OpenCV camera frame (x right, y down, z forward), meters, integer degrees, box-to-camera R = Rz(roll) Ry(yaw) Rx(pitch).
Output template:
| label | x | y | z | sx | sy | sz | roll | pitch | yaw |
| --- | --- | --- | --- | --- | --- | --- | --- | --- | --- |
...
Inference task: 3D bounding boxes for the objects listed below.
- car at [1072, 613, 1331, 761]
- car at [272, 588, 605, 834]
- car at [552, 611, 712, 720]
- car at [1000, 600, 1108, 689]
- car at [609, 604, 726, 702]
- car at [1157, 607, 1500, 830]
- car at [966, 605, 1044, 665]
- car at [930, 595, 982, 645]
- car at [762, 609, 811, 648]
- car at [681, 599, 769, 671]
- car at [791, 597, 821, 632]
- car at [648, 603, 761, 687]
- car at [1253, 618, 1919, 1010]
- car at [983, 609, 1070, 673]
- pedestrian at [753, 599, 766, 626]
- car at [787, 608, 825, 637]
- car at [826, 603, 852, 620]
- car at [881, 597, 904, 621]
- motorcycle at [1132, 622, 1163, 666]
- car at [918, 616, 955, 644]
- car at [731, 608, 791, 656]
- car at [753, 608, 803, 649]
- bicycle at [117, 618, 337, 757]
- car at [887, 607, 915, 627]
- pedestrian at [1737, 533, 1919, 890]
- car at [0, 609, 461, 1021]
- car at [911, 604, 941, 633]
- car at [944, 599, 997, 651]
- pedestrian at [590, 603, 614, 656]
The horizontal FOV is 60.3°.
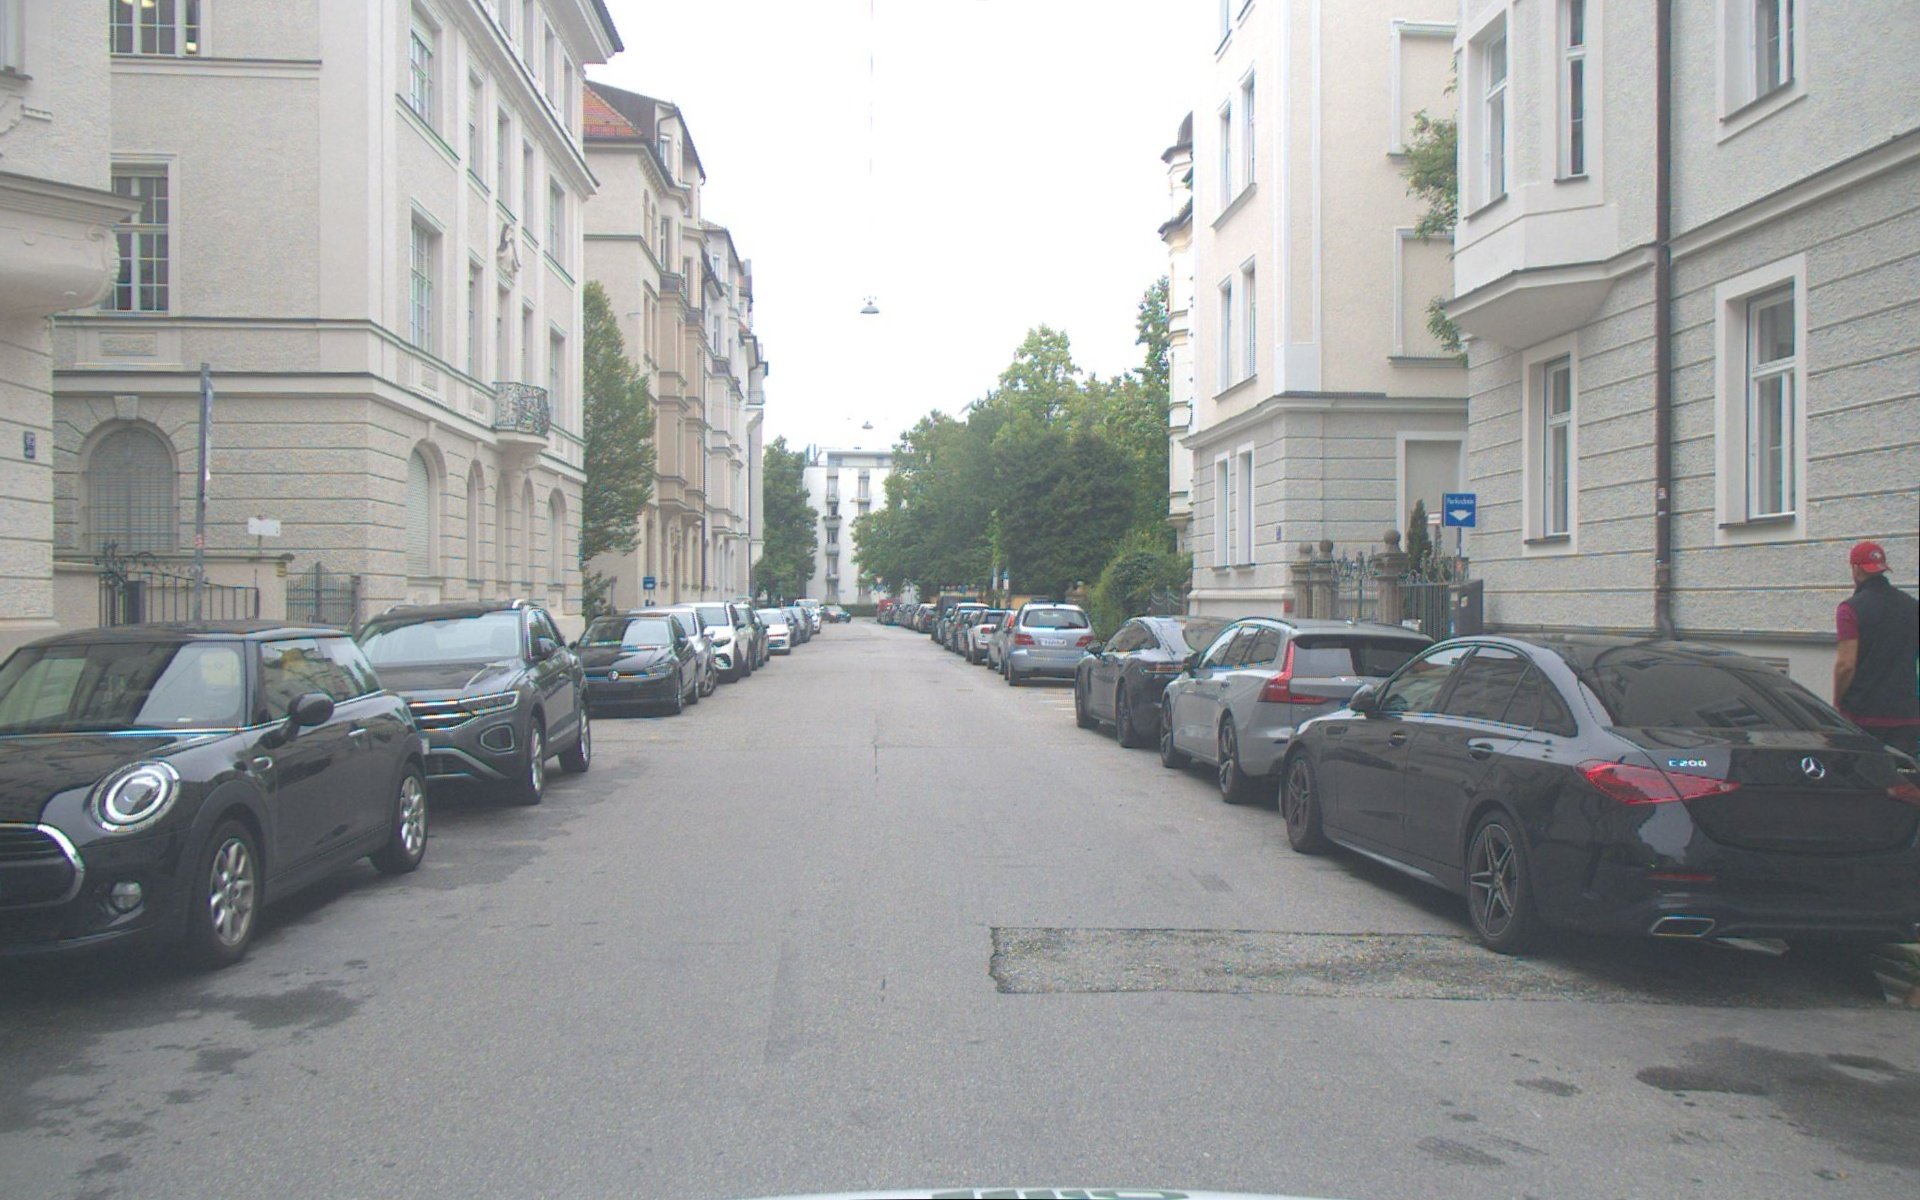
| label | x | y | z | sx | sy | sz | roll | pitch | yaw |
| --- | --- | --- | --- | --- | --- | --- | --- | --- | --- |
| car | 2.656 | 0.909 | 19.372 | 1.955 | 1.483 | 4.707 | 0 | 0 | -5 |
| car | -4.086 | 0.780 | 13.631 | 1.693 | 1.647 | 4.117 | -2 | 0 | -5 |
| car | -4.894 | 0.924 | 25.214 | 1.757 | 1.440 | 4.275 | -2 | 0 | -3 |
| car | 1.838 | 0.852 | 33.585 | 1.785 | 1.596 | 4.399 | 3 | 0 | -1 |
| car | -5.208 | 0.895 | 29.896 | 1.748 | 1.568 | 4.251 | -2 | 0 | -7 |
| car | 2.942 | 0.871 | 14.207 | 1.725 | 1.511 | 4.418 | 3 | 0 | -3 |
| car | 1.150 | 0.909 | 44.408 | 1.749 | 1.531 | 4.062 | 1 | 0 | -3 |
| car | -0.187 | 0.834 | 71.176 | 1.912 | 1.988 | 4.662 | 1 | 1 | -4 |
| car | -7.376 | 1.189 | 70.574 | 1.800 | 1.461 | 4.242 | -3 | 0 | -3 |
| car | -5.689 | 0.801 | 40.467 | 1.800 | 1.647 | 4.241 | 0 | 0 | -4 |
| car | -10.194 | 0.954 | 109.730 | 1.850 | 2.165 | 4.701 | -3 | 0 | -5 |
| car | -5.321 | 0.893 | 34.943 | 1.877 | 1.647 | 4.569 | 0 | 0 | -3 |
| car | 3.204 | 0.881 | 8.984 | 1.801 | 1.424 | 4.967 | 2 | 0 | -7 |
| car | 1.543 | 0.936 | 39.317 | 1.719 | 1.431 | 3.449 | 1 | 0 | -3 |
| pedestrian | -12.858 | 0.805 | 106.237 | 0.778 | 1.708 | 0.698 | 0 | 0 | -12 |
| car | -8.480 | 1.217 | 91.310 | 1.800 | 1.463 | 4.272 | -3 | 0 | -3 |
| car | -10.287 | 0.965 | 140.351 | 1.840 | 1.453 | 4.400 | 0 | 0 | -9 |
| car | -5.664 | 0.741 | 139.855 | 1.799 | 1.960 | 4.003 | 2 | 0 | -1 |
| motorcycle | 4.984 | 1.160 | 44.065 | 0.595 | 1.132 | 1.964 | 0 | 0 | 0 |
| car | -1.292 | 1.609 | 89.407 | 1.802 | 1.438 | 4.339 | 1 | -1 | -3 |
| car | -6.664 | 1.042 | 55.618 | 1.800 | 1.459 | 4.240 | -2 | 0 | -5 |
| car | -7.136 | 1.108 | 65.153 | 1.797 | 1.459 | 4.549 | -2 | 0 | -4 |
| bicycle | -7.647 | 0.864 | 17.461 | 1.129 | 1.264 | 2.715 | 4 | 0 | -2 |
| car | -4.597 | 1.320 | 127.874 | 1.803 | 1.545 | 3.941 | 1 | -1 | -7 |
| pedestrian | 5.050 | 0.570 | 9.181 | 0.865 | 1.843 | 1.110 | -2 | 0 | -2 |
| car | -3.913 | 0.802 | 8.014 | 1.799 | 1.418 | 4.243 | -2 | 0 | -2 |
| car | -2.044 | 1.119 | 99.294 | 1.484 | 1.690 | 3.669 | 1 | -1 | -6 |
| car | 0.349 | 0.936 | 61.762 | 1.688 | 1.800 | 4.410 | 2 | -1 | -3 |
| pedestrian | -11.315 | 0.937 | 52.246 | 0.660 | 1.654 | 0.630 | 0 | 0 | -6 |
